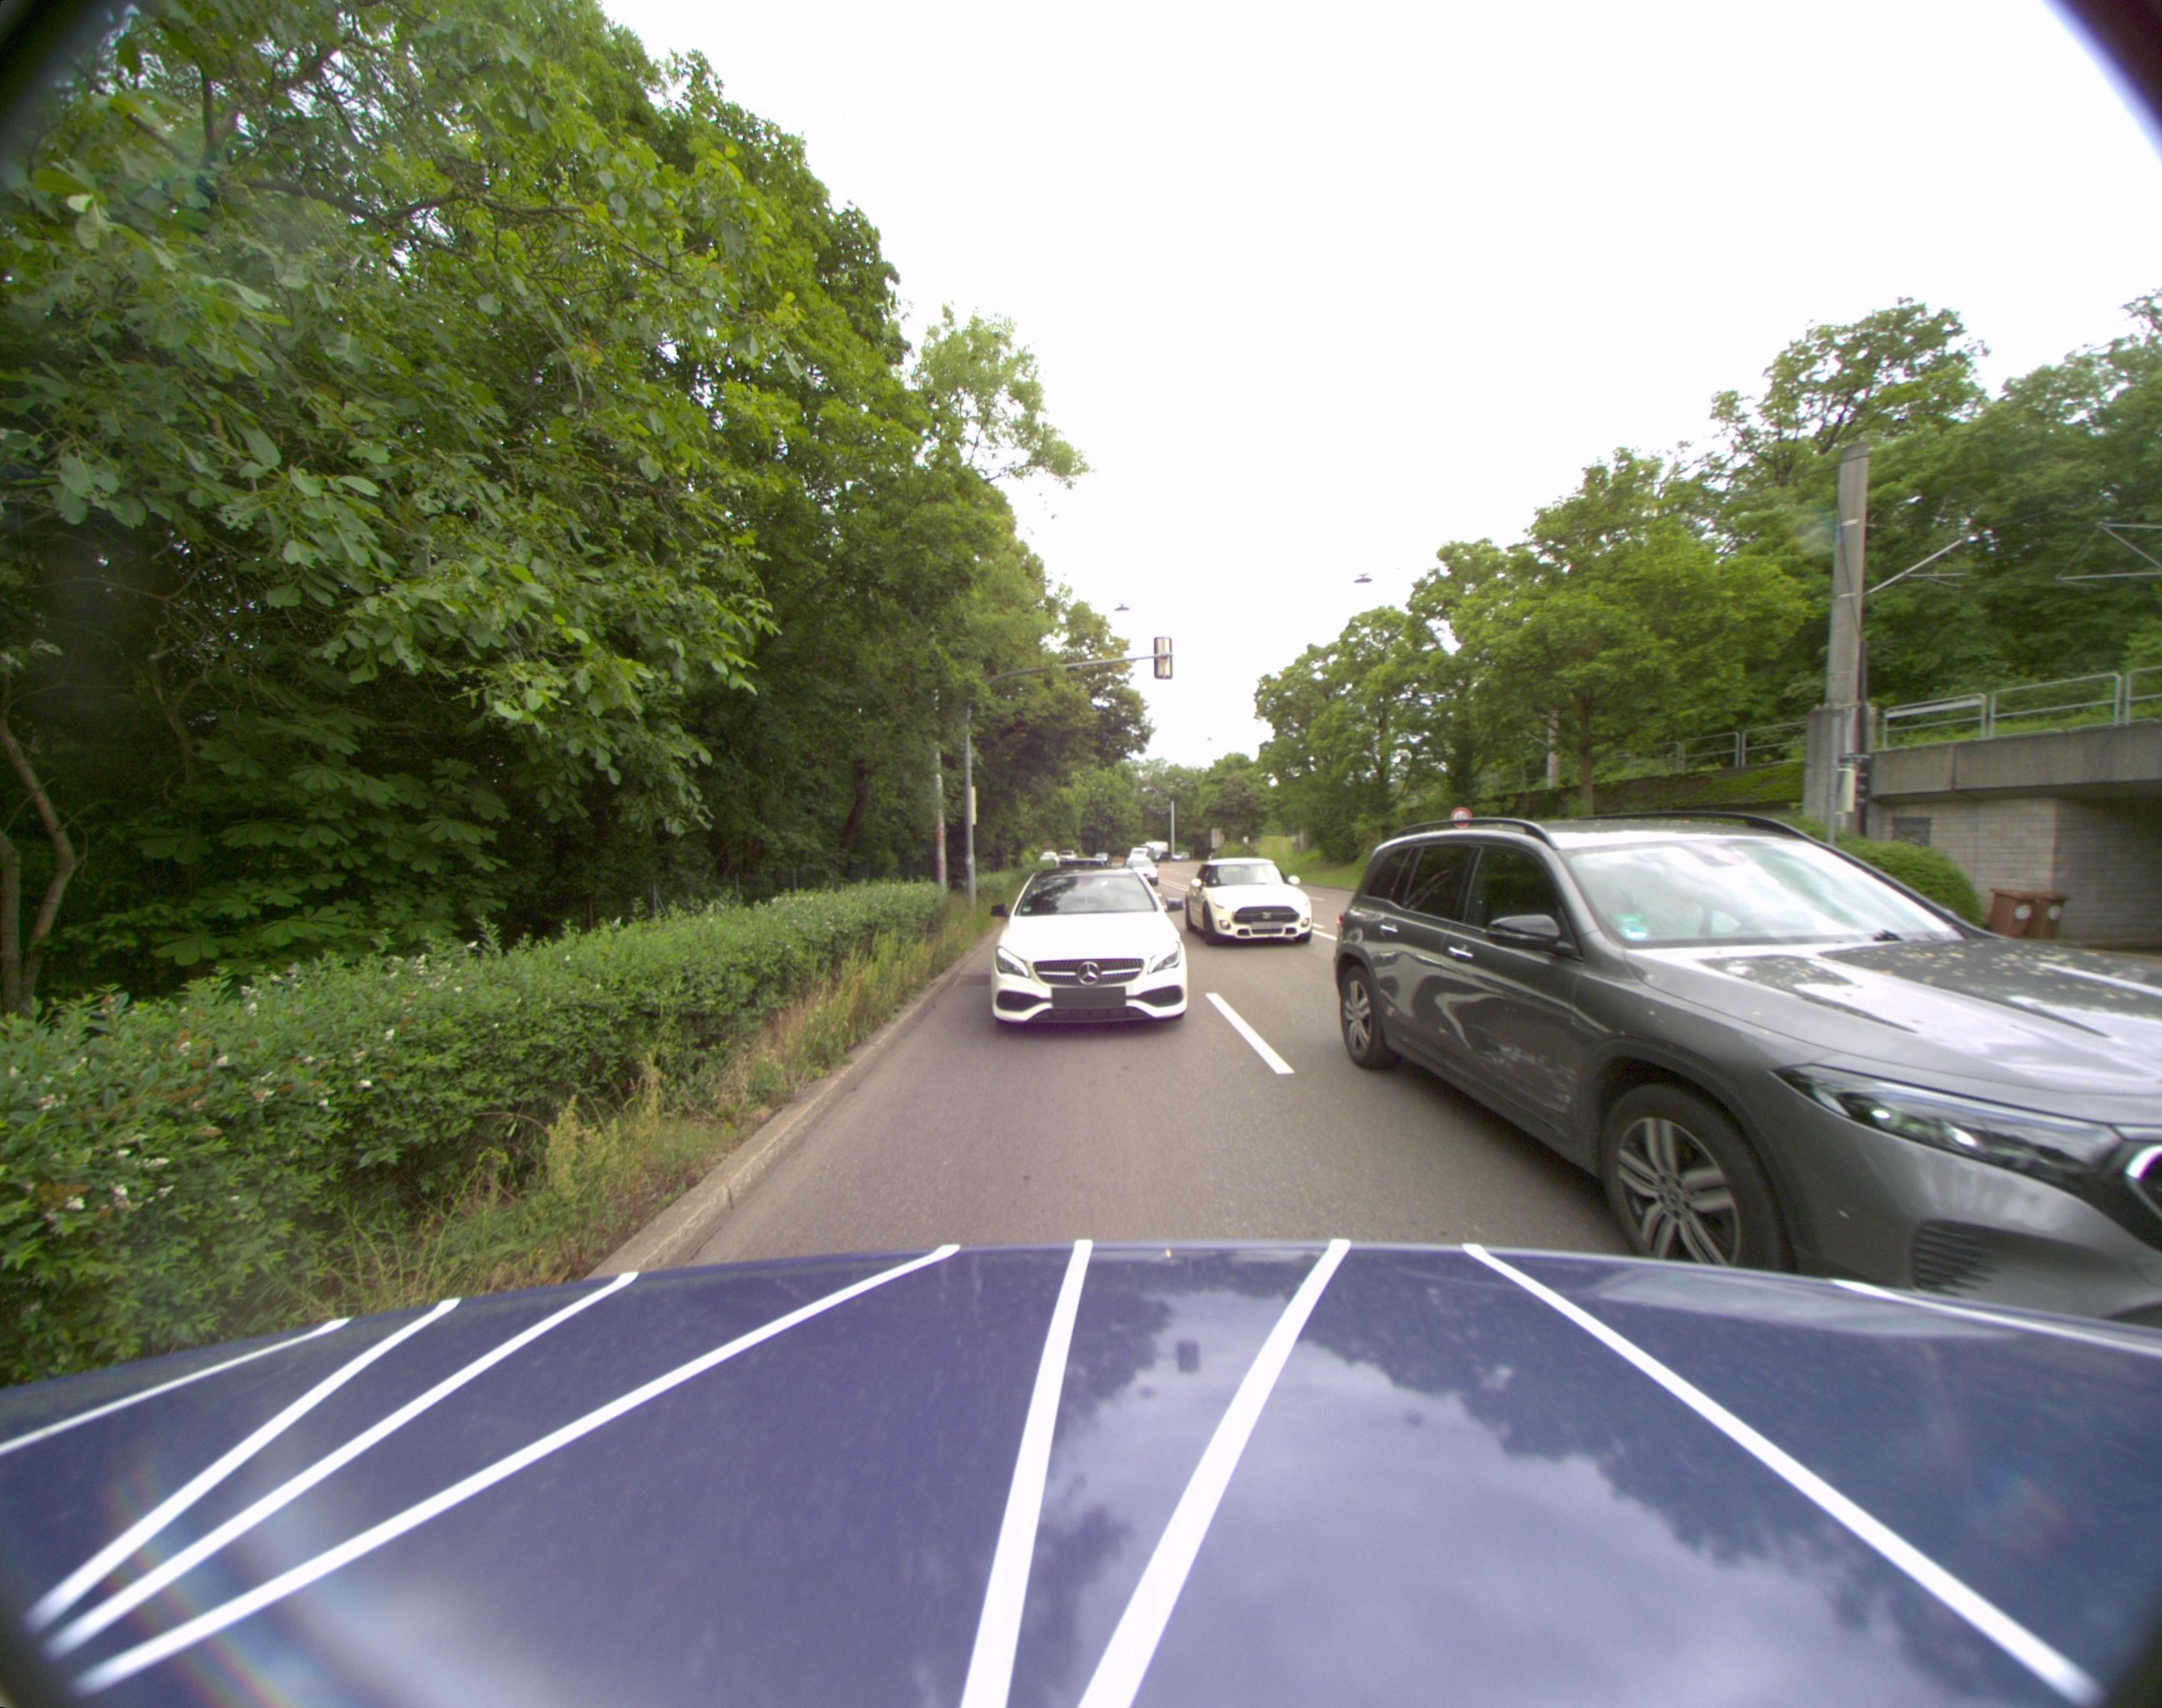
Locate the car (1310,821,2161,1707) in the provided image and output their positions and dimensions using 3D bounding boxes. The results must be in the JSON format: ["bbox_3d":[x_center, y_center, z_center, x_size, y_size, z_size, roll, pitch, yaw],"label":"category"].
[{"bbox_3d":[2.689,0.736,3.533,1.854,1.641,4.357,-1,0,-1],"label":"car"}]

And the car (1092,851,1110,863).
[{"bbox_3d":[2.395,0.350,91.105,1.764,1.433,3.894,1,0,7],"label":"car"}]

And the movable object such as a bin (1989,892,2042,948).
[{"bbox_3d":[18.366,1.285,14.941,0.419,1.057,0.503,0,1,-4],"label":"movable object such as a bin"}]

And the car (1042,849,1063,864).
[{"bbox_3d":[-2.756,0.217,73.999,1.765,1.433,3.892,1,0,0],"label":"car"}]

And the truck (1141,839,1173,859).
[{"bbox_3d":[12.268,-0.777,122.006,2.195,3.137,6.665,2,0,33],"label":"truck"}]

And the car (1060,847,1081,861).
[{"bbox_3d":[-1.227,0.028,88.814,1.754,1.575,4.013,1,0,10],"label":"car"}]

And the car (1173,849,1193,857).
[{"bbox_3d":[17.366,-0.170,129.464,1.751,1.354,4.019,4,1,35],"label":"car"}]

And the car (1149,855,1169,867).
[{"bbox_3d":[11.911,1.006,115.891,1.775,1.789,4.007,0,0,24],"label":"car"}]

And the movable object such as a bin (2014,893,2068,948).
[{"bbox_3d":[18.987,1.305,15.038,0.419,1.057,0.503,0,1,-4],"label":"movable object such as a bin"}]

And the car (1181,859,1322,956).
[{"bbox_3d":[2.883,0.842,13.588,1.688,1.415,3.732,-1,0,0],"label":"car"}]

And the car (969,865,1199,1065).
[{"bbox_3d":[0.054,0.927,8.145,1.801,1.470,4.010,-2,0,1],"label":"car"}]

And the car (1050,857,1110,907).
[{"bbox_3d":[0.049,0.873,25.438,1.755,1.417,4.010,3,1,2],"label":"car"}]

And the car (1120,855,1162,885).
[{"bbox_3d":[2.979,0.755,38.412,1.664,1.382,4.182,-1,0,-1],"label":"car"}]

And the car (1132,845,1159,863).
[{"bbox_3d":[8.324,-0.052,97.465,2.282,2.187,6.465,-1,0,14],"label":"car"}]
